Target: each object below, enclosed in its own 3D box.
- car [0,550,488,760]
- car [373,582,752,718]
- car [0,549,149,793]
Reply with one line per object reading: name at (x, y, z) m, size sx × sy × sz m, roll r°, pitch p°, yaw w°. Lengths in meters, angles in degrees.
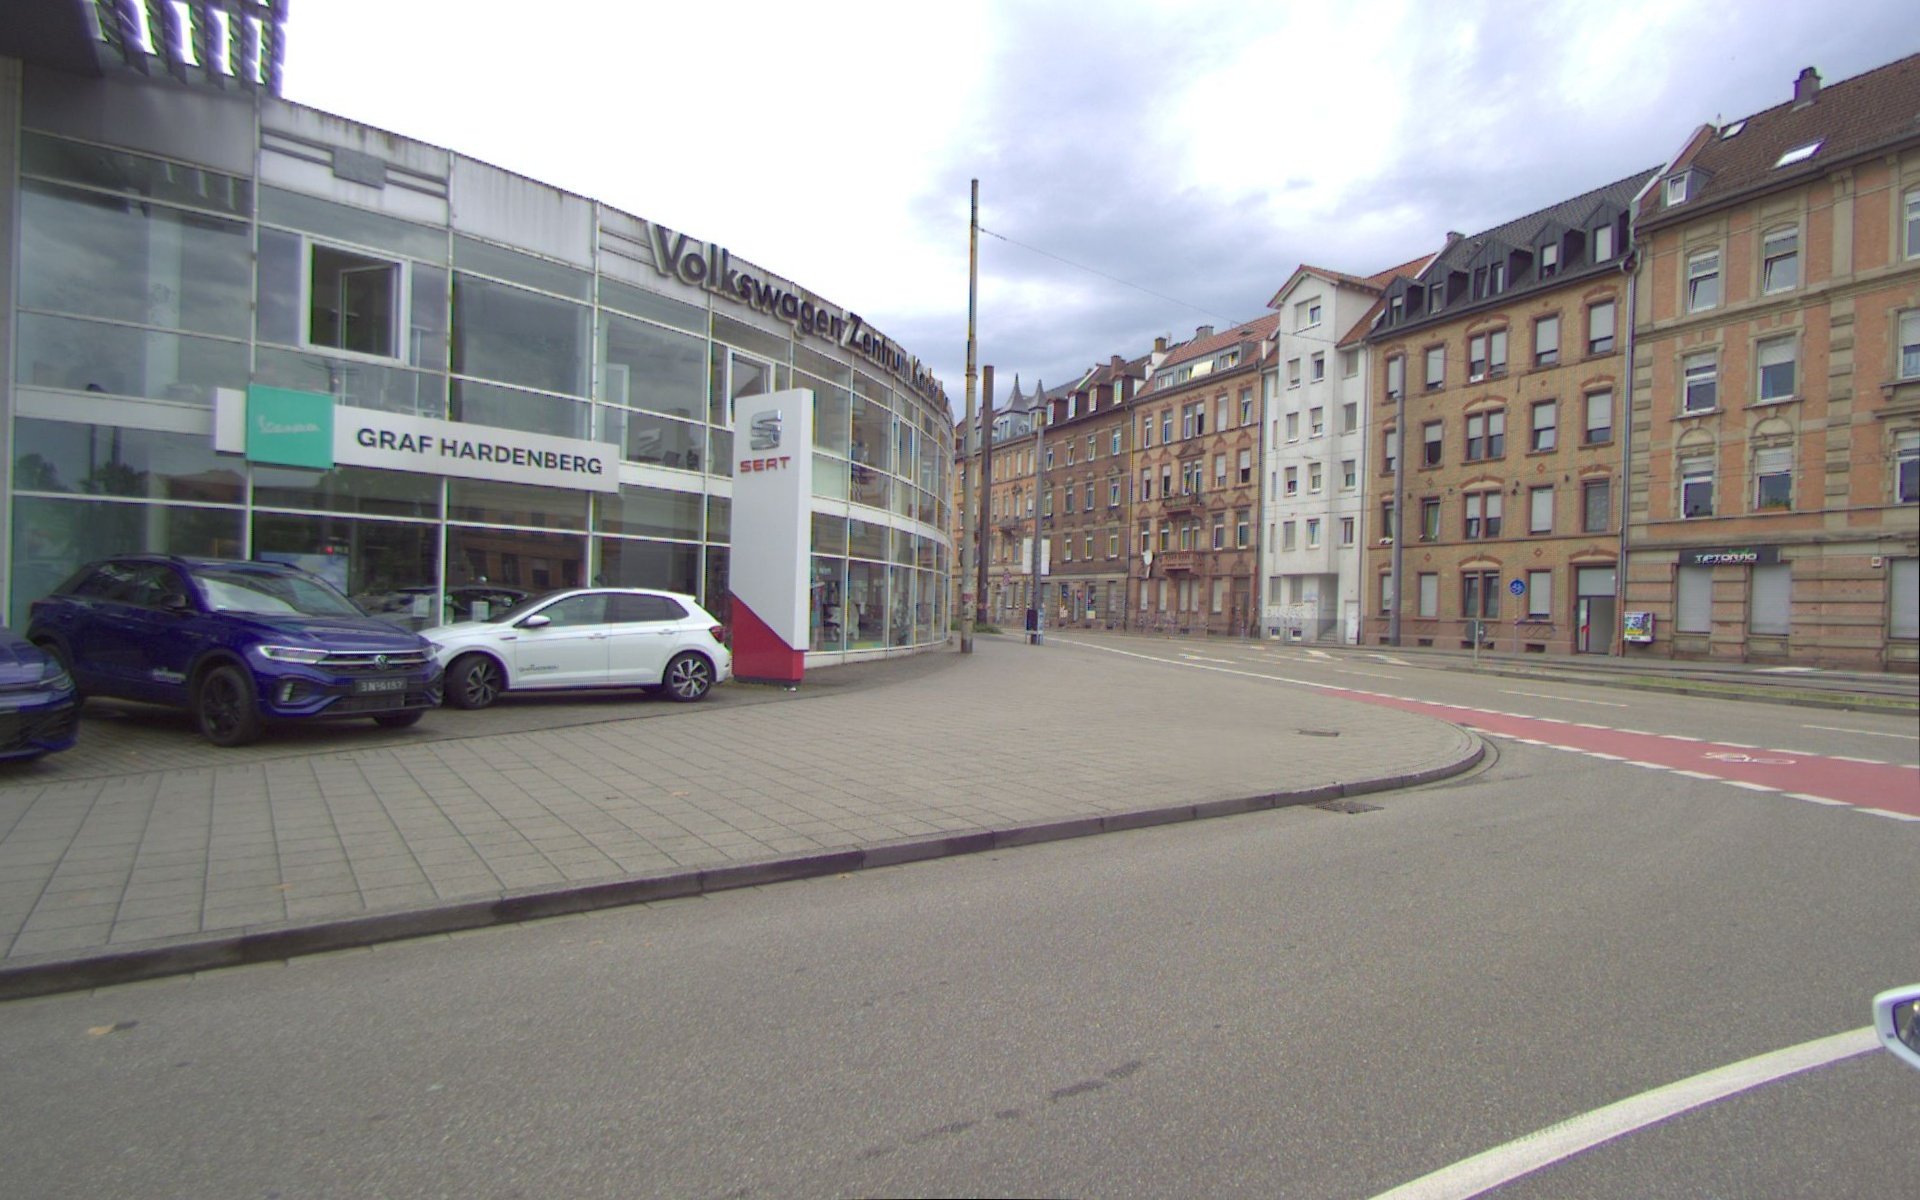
car at (-6.822, 0.407, 9.485) m, size 4.138 × 1.583 × 1.901 m, roll 2°, pitch 0°, yaw 21°
car at (-4.983, 0.584, 12.819) m, size 4.219 × 1.472 × 1.766 m, roll 2°, pitch -1°, yaw -34°
car at (-8.151, 0.324, 7.011) m, size 4.253 × 1.524 × 1.859 m, roll 4°, pitch 1°, yaw 19°
